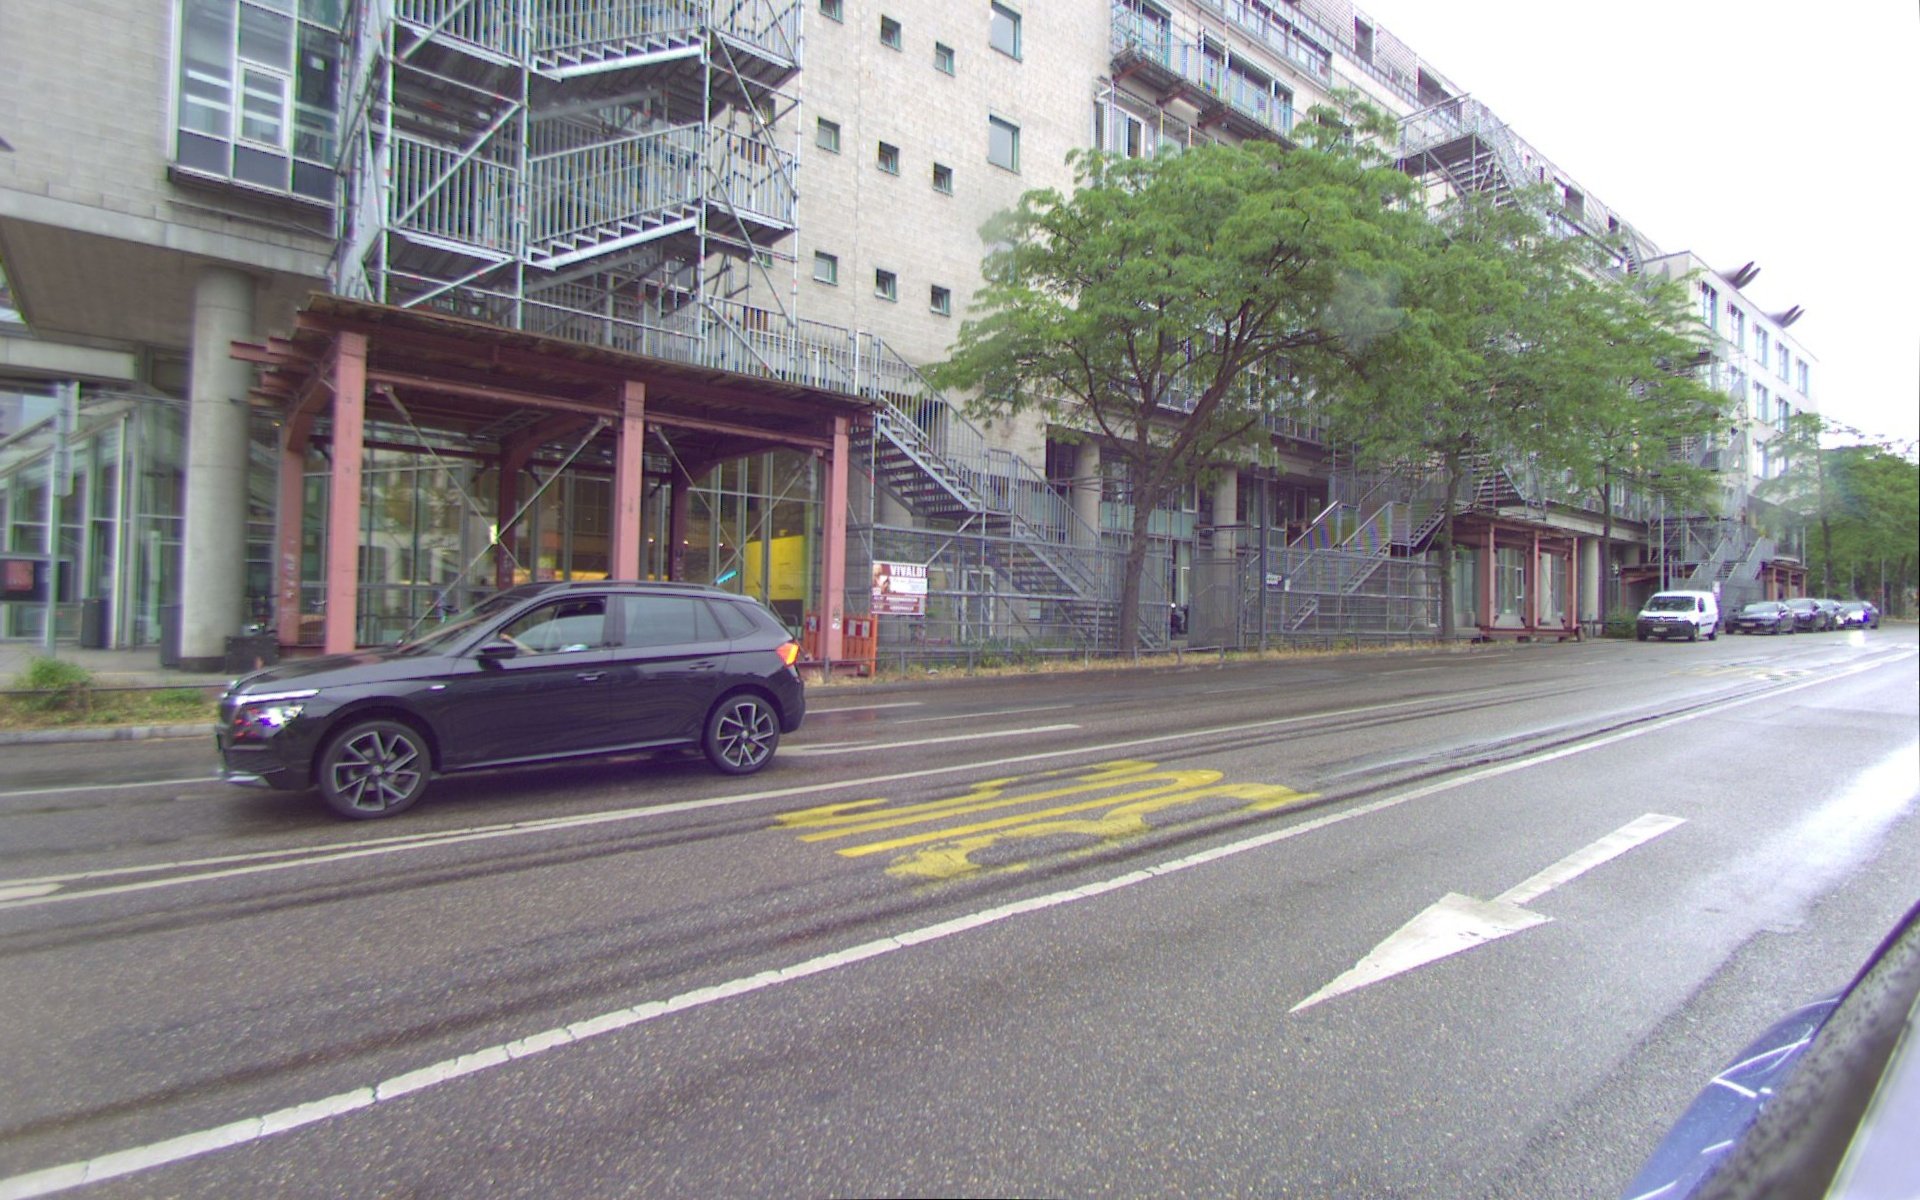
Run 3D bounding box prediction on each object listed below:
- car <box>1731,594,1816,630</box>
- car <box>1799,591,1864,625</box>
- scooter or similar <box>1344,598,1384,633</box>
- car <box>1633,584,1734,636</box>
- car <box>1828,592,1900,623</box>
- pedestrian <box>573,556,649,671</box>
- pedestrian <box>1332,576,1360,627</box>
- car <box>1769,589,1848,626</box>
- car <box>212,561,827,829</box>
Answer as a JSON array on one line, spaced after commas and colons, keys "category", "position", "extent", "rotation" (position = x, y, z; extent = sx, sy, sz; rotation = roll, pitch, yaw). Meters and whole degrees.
[{"category": "car", "position": [35.261, 0.509, 43.819], "extent": [4.831, 1.455, 1.873], "rotation": [0, 0, -39]}, {"category": "car", "position": [44.395, 0.390, 51.535], "extent": [4.512, 1.621, 1.865], "rotation": [0, 0, -41]}, {"category": "scooter or similar", "position": [13.809, 0.521, 34.559], "extent": [1.520, 1.176, 0.632], "rotation": [0, 0, -41]}, {"category": "car", "position": [26.228, 0.319, 36.630], "extent": [4.447, 1.772, 1.997], "rotation": [0, 0, -41]}, {"category": "car", "position": [49.116, 0.408, 54.963], "extent": [5.191, 1.621, 1.999], "rotation": [0, 0, -38]}, {"category": "pedestrian", "position": [-5.884, 0.213, 17.093], "extent": [1.037, 1.875, 0.681], "rotation": [0, 0, -40]}, {"category": "pedestrian", "position": [13.765, 0.046, 36.112], "extent": [0.641, 1.764, 0.678], "rotation": [0, 0, -38]}, {"category": "car", "position": [40.365, 0.365, 48.123], "extent": [4.774, 1.667, 1.998], "rotation": [0, 0, -39]}, {"category": "car", "position": [-3.244, 0.544, 7.861], "extent": [4.071, 1.559, 1.782], "rotation": [0, 0, -39]}]
